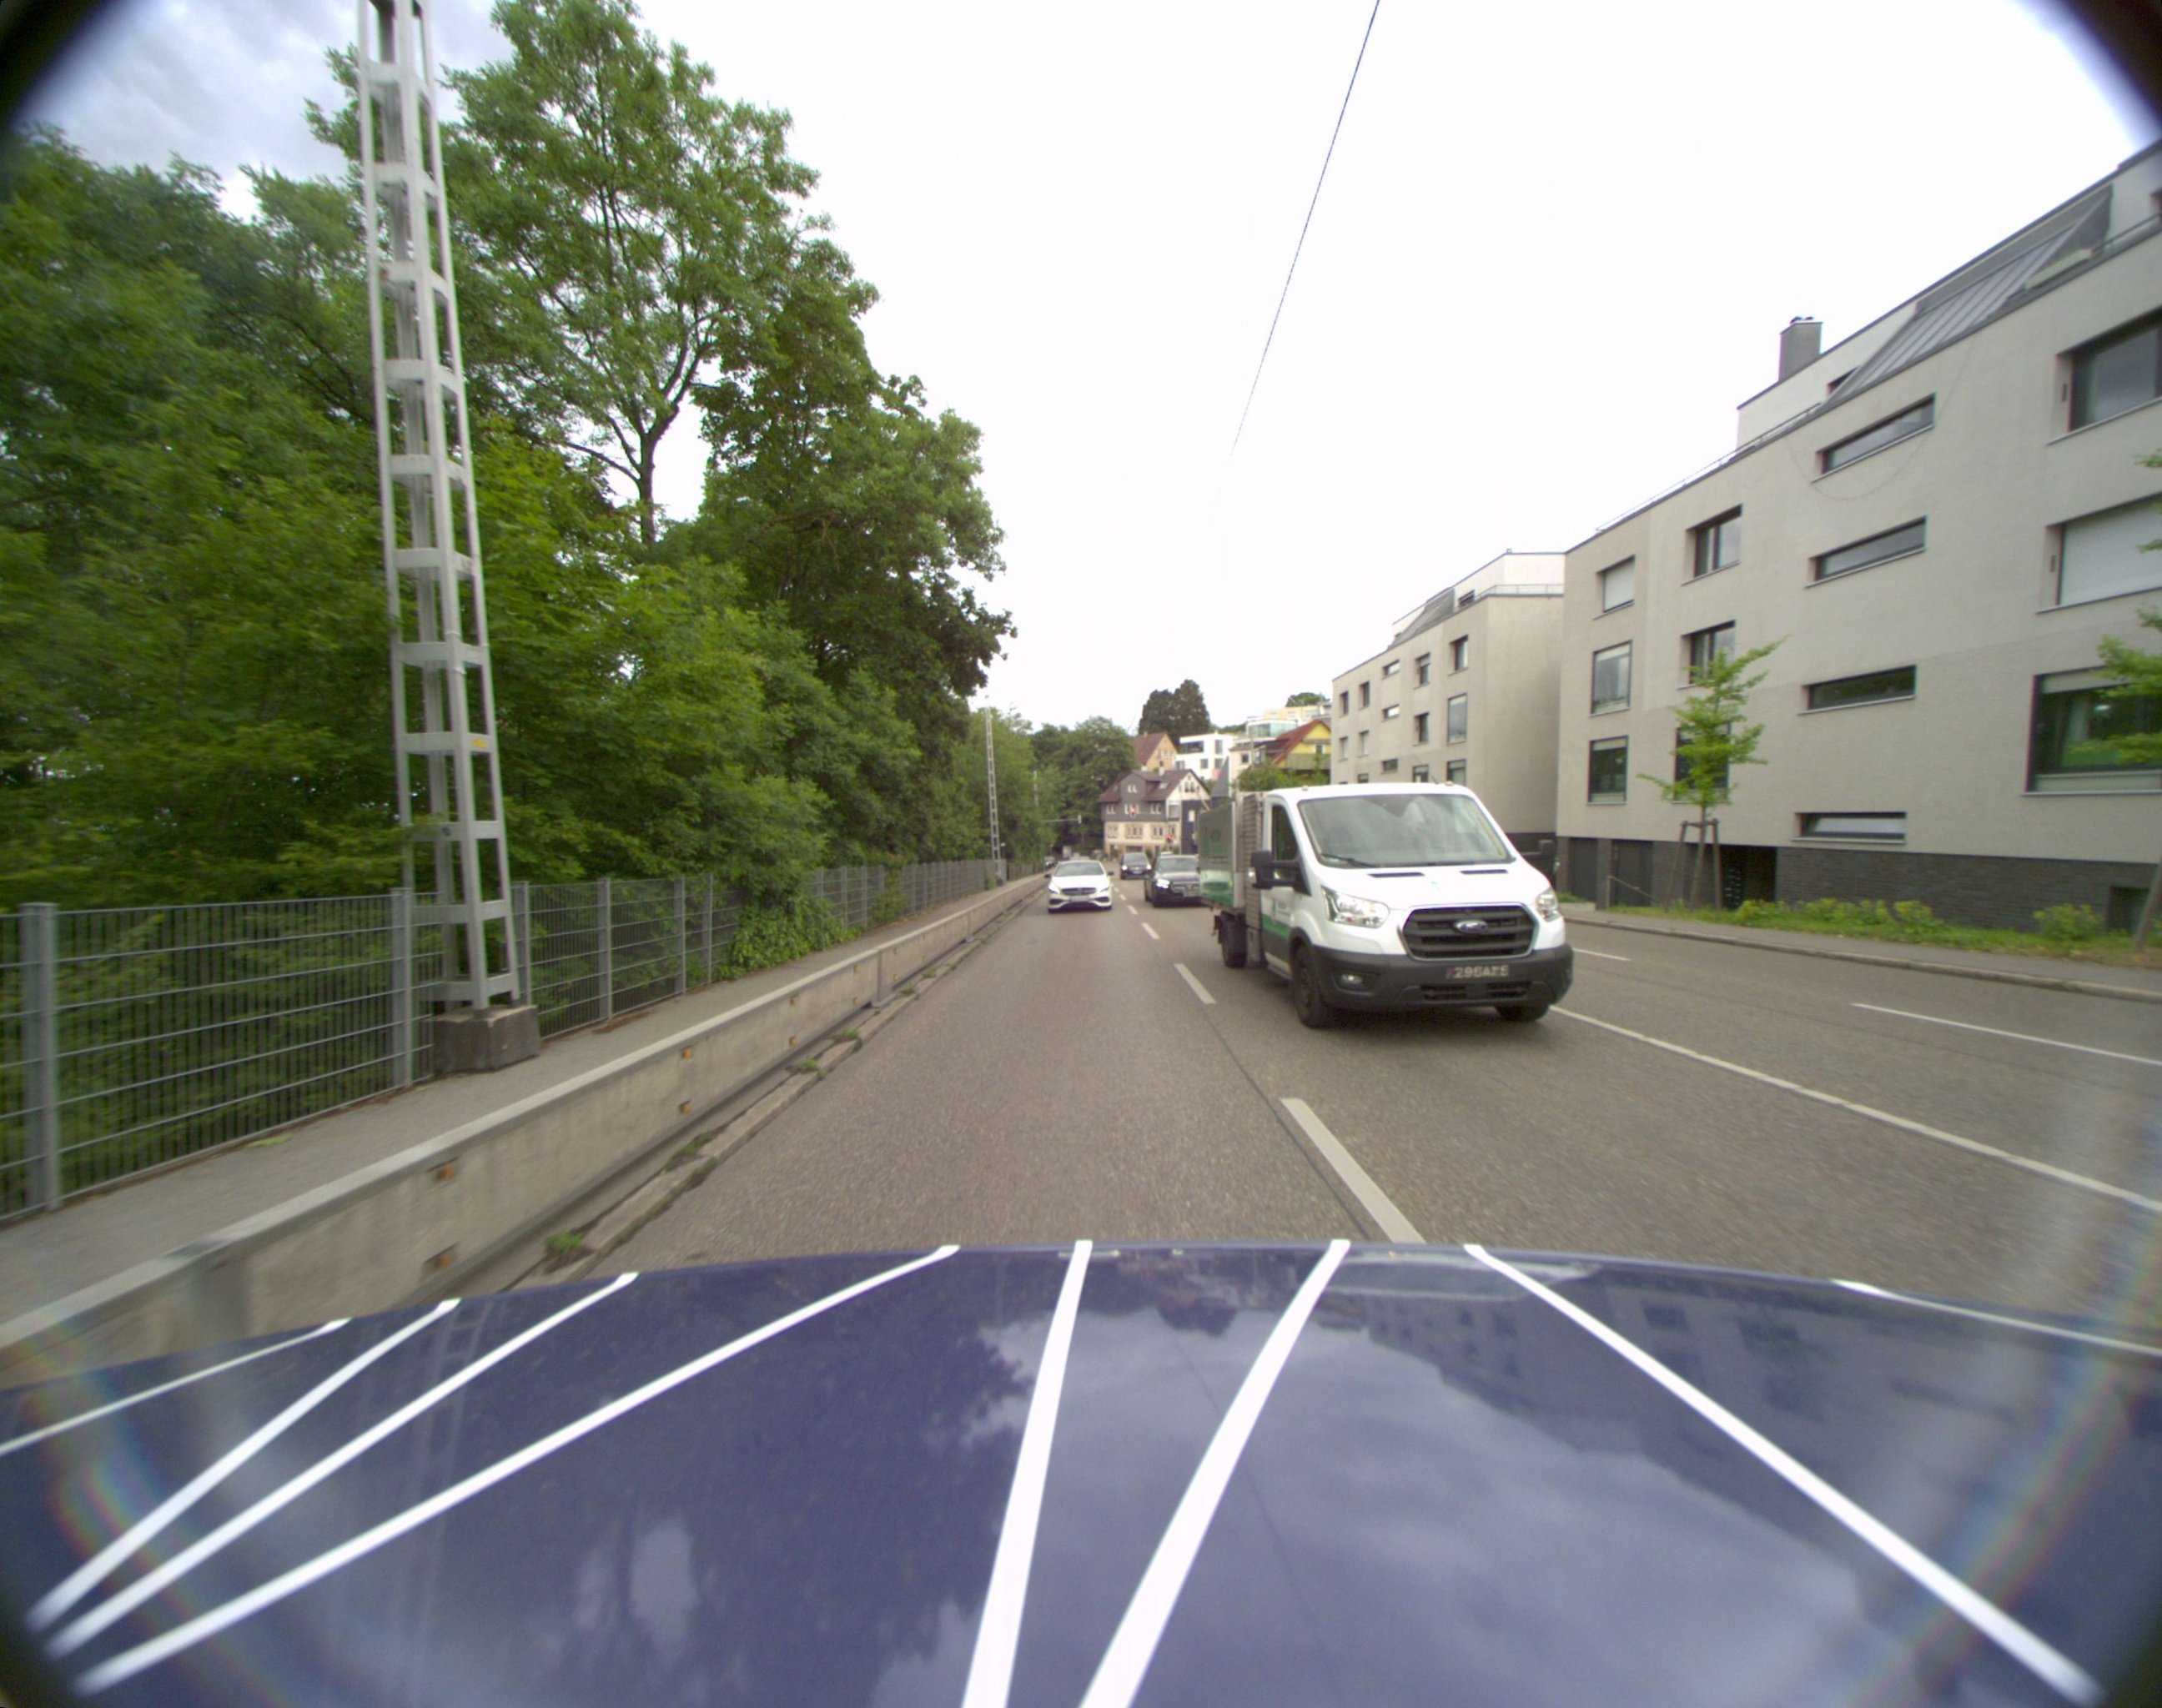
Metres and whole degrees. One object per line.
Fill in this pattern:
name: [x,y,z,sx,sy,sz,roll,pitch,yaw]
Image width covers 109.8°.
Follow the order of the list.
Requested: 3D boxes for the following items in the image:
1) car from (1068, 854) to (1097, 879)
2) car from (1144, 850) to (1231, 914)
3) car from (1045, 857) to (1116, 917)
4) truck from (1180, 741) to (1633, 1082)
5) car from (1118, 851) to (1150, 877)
car: [0.137,0.809,50.299,1.777,1.532,4.000,0,0,1]
car: [2.971,0.717,22.138,1.915,1.472,4.399,-4,1,1]
car: [0.026,0.884,22.225,1.817,1.391,3.999,-3,1,1]
truck: [2.695,0.392,8.455,2.081,2.307,6.330,-2,0,-2]
car: [3.188,0.565,46.478,1.693,1.499,4.000,-1,0,1]
